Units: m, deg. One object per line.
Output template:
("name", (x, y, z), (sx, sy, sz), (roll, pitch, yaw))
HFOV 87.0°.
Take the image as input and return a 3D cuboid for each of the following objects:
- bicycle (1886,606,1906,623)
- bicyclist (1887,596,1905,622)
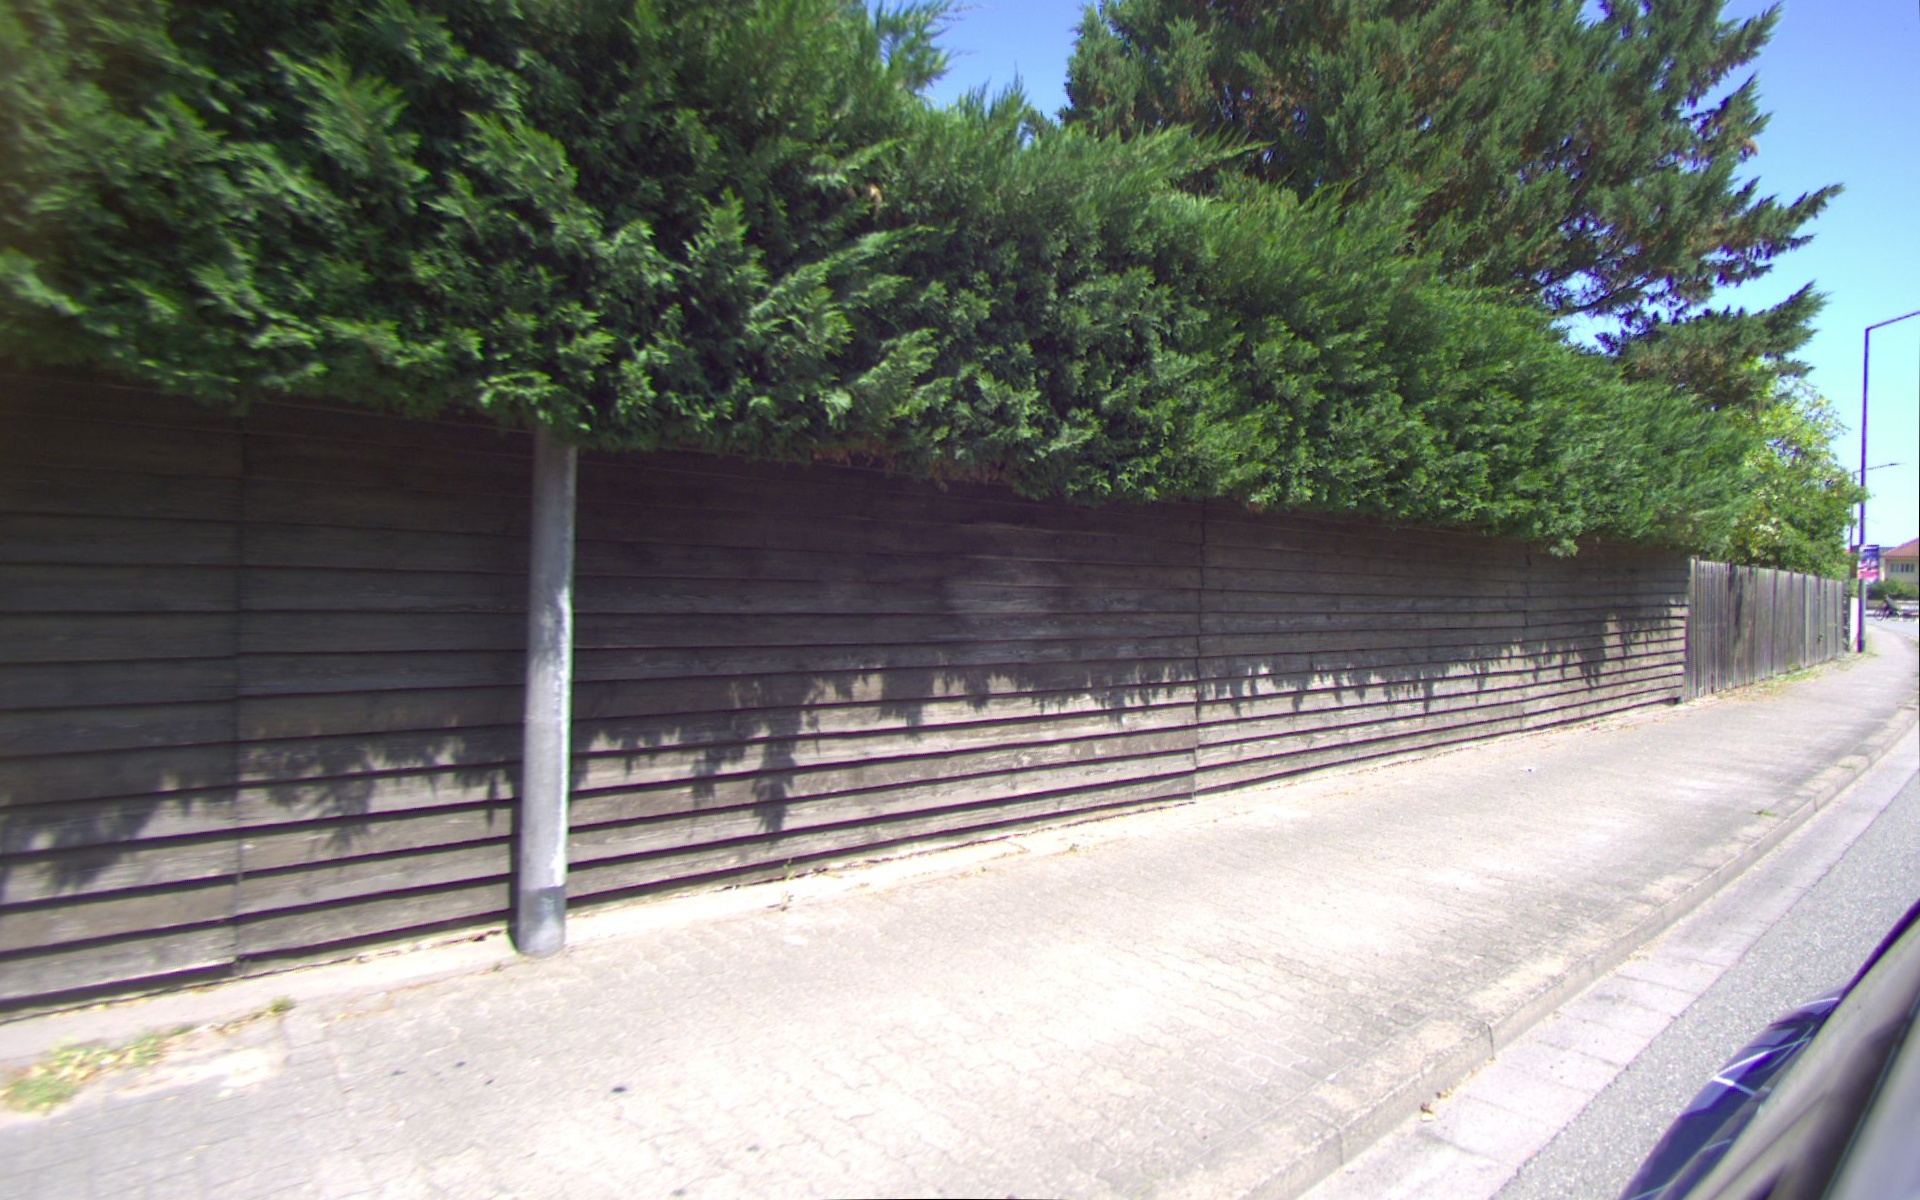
("bicycle", (68.197, 1.028, 73.754), (0.848, 1.181, 1.951), (2, 1, 36))
("bicyclist", (68.217, 0.644, 73.755), (0.843, 1.889, 0.963), (1, 0, 37))
